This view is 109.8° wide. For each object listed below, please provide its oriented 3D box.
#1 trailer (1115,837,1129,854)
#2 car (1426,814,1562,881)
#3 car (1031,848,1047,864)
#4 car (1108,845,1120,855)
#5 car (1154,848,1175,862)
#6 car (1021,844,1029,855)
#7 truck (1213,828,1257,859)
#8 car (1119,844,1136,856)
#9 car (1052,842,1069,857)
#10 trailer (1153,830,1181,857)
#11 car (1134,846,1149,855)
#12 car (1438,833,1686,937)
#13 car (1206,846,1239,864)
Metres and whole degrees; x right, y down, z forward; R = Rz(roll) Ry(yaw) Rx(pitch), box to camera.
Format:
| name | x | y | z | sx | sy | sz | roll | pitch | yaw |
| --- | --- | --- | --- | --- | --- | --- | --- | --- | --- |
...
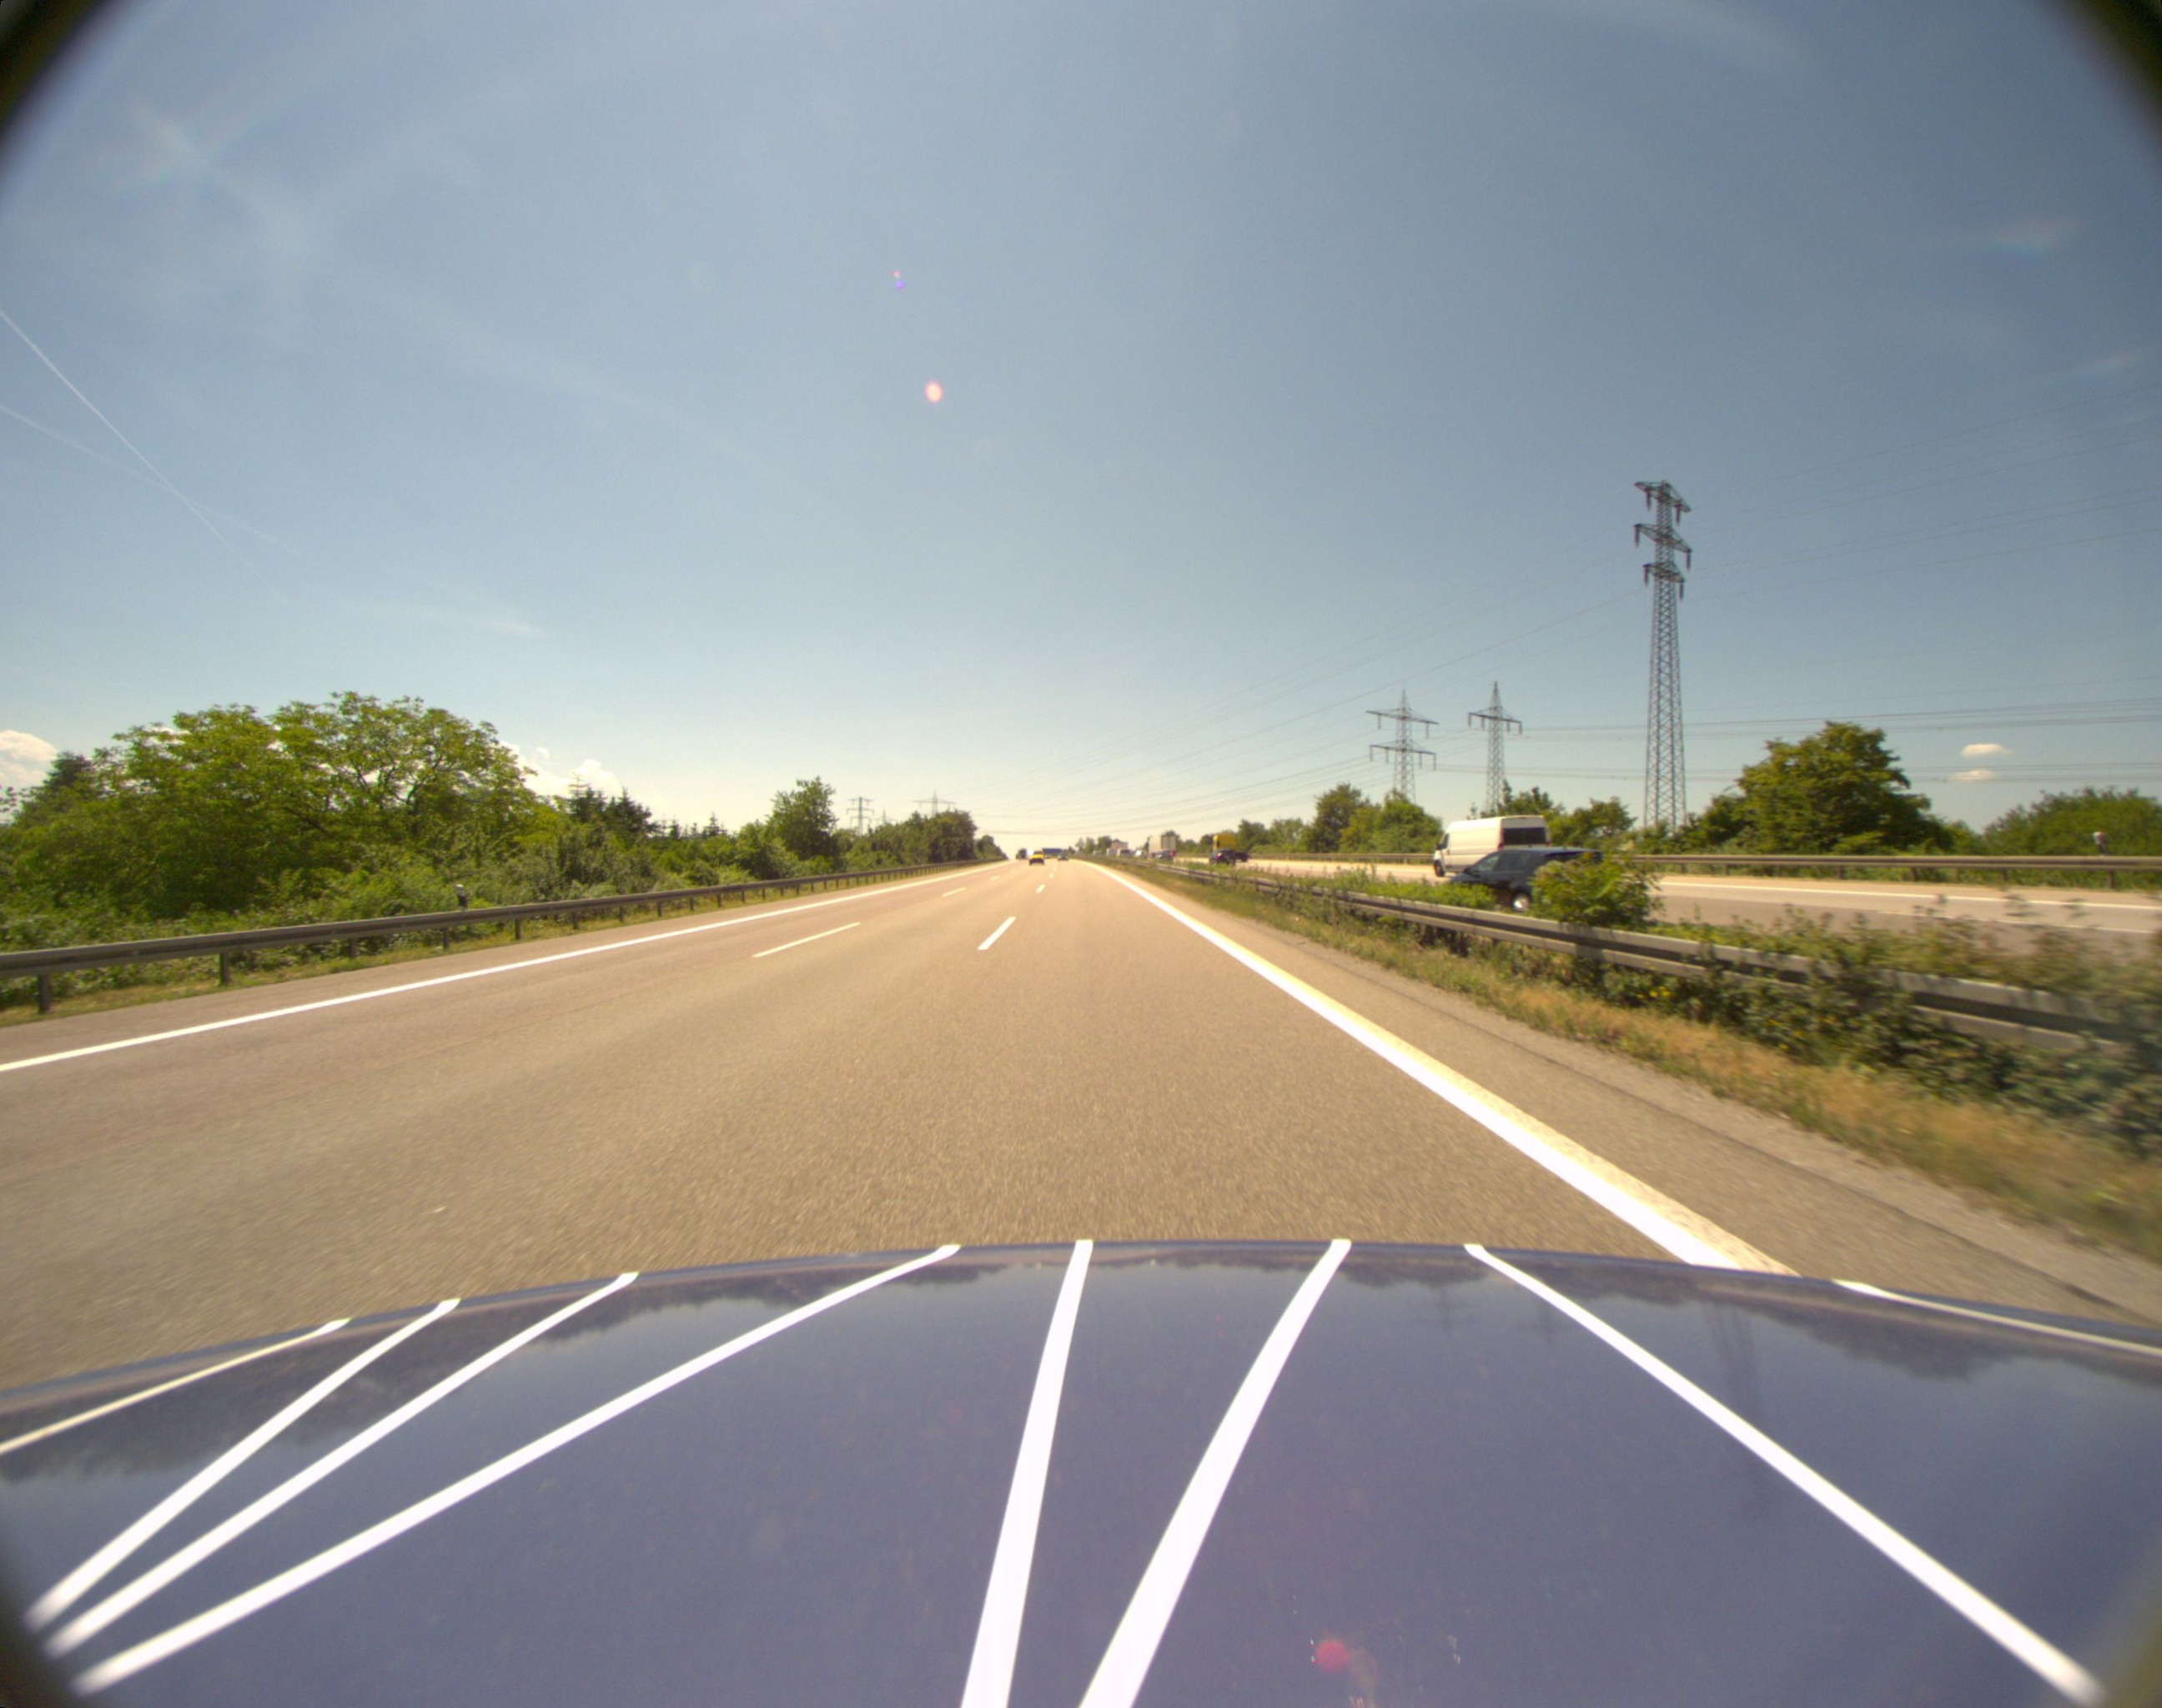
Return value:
| name | x | y | z | sx | sy | sz | roll | pitch | yaw |
| --- | --- | --- | --- | --- | --- | --- | --- | --- | --- |
| trailer | 10.918 | -2.126 | 201.291 | 2.513 | 4.018 | 13.584 | -2 | -1 | -2 |
| car | 17.036 | -0.259 | 31.864 | 2.137 | 2.463 | 6.332 | -2 | 1 | -1 |
| car | -5.481 | 0.299 | 98.051 | 1.956 | 2.001 | 5.431 | 0 | -1 | -4 |
| car | 7.979 | -1.017 | 185.425 | 1.999 | 2.456 | 6.487 | -2 | 1 | -4 |
| car | 8.456 | 0.121 | 77.269 | 1.636 | 1.346 | 3.828 | -2 | 1 | -1 |
| car | -19.505 | -1.640 | 262.726 | 2.688 | 3.723 | 6.268 | 0 | -1 | -5 |
| truck | 16.654 | -1.110 | 82.872 | 2.528 | 3.133 | 9.664 | -2 | 1 | -2 |
| car | 7.337 | -0.600 | 120.501 | 1.999 | 1.871 | 5.720 | -2 | 1 | -2 |
| car | -3.692 | -0.788 | 136.742 | 2.688 | 2.509 | 5.965 | 0 | -1 | -5 |
| trailer | 14.968 | -1.755 | 133.297 | 2.842 | 4.232 | 13.636 | -2 | -1 | -2 |
| car | 10.287 | -0.577 | 130.182 | 1.999 | 1.539 | 4.725 | -2 | 1 | -2 |
| car | 9.185 | 0.503 | 15.108 | 1.998 | 1.688 | 4.606 | -2 | 1 | 0 |
| car | 12.295 | 0.067 | 66.080 | 1.984 | 1.501 | 4.234 | -2 | 1 | -1 |
